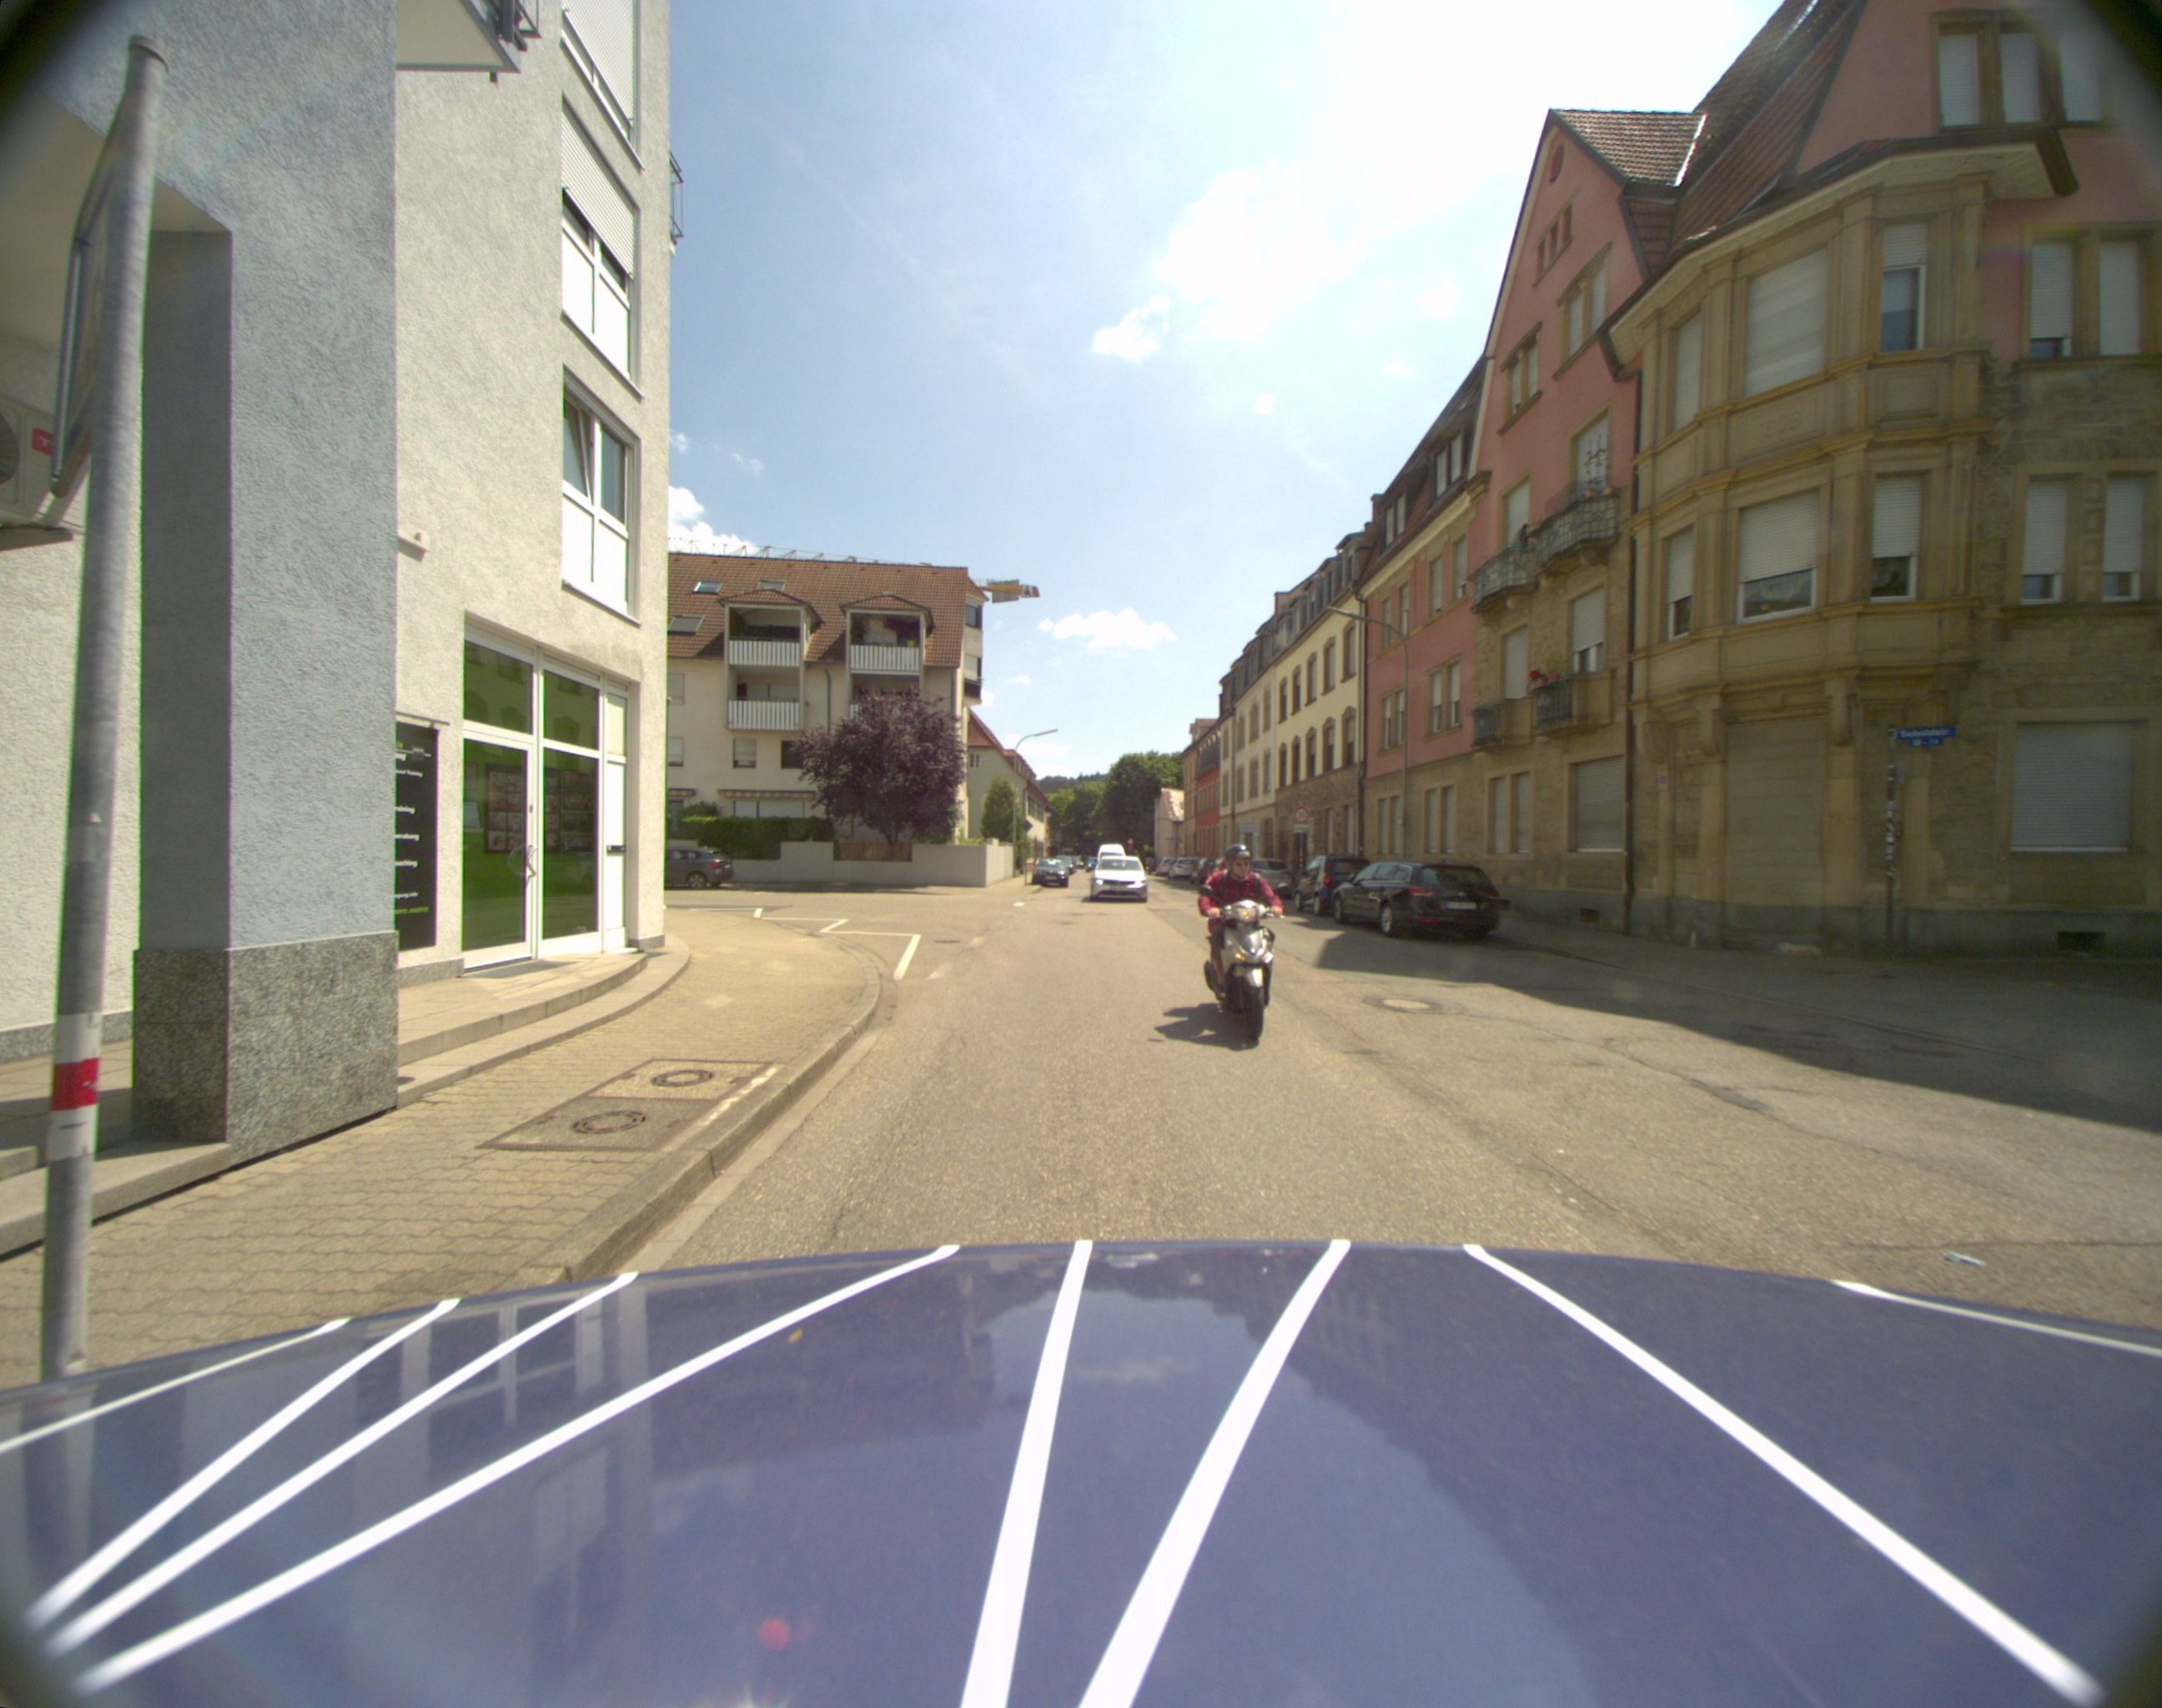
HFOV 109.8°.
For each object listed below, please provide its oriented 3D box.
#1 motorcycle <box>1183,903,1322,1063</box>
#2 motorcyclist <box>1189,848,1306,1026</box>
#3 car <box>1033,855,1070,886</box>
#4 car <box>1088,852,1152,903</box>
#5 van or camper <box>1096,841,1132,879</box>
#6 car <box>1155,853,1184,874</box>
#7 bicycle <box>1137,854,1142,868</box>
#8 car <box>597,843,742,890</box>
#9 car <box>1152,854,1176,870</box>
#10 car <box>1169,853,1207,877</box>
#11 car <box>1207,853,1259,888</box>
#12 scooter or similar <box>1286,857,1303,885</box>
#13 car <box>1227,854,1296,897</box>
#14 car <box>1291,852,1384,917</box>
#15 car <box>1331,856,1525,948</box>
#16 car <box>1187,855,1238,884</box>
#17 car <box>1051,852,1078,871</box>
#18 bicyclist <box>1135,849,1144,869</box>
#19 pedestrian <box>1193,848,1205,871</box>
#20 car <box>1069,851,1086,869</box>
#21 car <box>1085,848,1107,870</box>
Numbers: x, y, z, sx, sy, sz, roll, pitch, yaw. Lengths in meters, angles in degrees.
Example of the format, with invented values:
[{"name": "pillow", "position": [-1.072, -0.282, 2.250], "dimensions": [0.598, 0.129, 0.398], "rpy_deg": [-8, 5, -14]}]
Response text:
[{"name": "motorcycle", "position": [1.410, 1.025, 6.641], "dimensions": [0.760, 1.049, 1.991], "rpy_deg": [-1, 0, 0]}, {"name": "motorcyclist", "position": [1.416, 0.668, 6.639], "dimensions": [0.793, 1.431, 1.020], "rpy_deg": [-1, 1, 0]}, {"name": "car", "position": [-1.391, 0.755, 36.450], "dimensions": [1.661, 1.368, 4.238], "rpy_deg": [1, 0, -2]}, {"name": "car", "position": [1.183, 0.693, 24.698], "dimensions": [1.812, 1.512, 3.999], "rpy_deg": [0, 0, -1]}, {"name": "van or camper", "position": [2.057, 0.358, 49.057], "dimensions": [1.999, 2.274, 5.143], "rpy_deg": [1, 0, -1]}, {"name": "car", "position": [6.828, 0.704, 58.640], "dimensions": [1.715, 1.451, 3.853], "rpy_deg": [2, 0, 0]}, {"name": "bicycle", "position": [5.292, 0.636, 69.224], "dimensions": [0.229, 1.268, 1.882], "rpy_deg": [3, 1, -1]}, {"name": "car", "position": [-14.060, 0.412, 26.118], "dimensions": [3.999, 1.460, 1.736], "rpy_deg": [1, 1, -6]}, {"name": "car", "position": [7.698, 0.688, 70.929], "dimensions": [1.732, 1.433, 3.856], "rpy_deg": [1, 0, -1]}, {"name": "car", "position": [6.938, 0.681, 49.804], "dimensions": [1.883, 1.501, 4.381], "rpy_deg": [1, 0, 0]}, {"name": "car", "position": [6.844, 0.709, 34.536], "dimensions": [1.602, 1.433, 3.494], "rpy_deg": [1, 0, -1]}, {"name": "scooter or similar", "position": [9.534, 0.729, 33.909], "dimensions": [0.375, 1.213, 1.319], "rpy_deg": [1, 0, 0]}, {"name": "car", "position": [6.797, 0.761, 28.963], "dimensions": [1.639, 1.423, 4.018], "rpy_deg": [2, 0, 0]}, {"name": "car", "position": [6.525, 0.733, 19.566], "dimensions": [1.440, 1.514, 2.695], "rpy_deg": [1, 1, 0]}, {"name": "car", "position": [6.606, 0.823, 15.117], "dimensions": [1.787, 1.450, 4.634], "rpy_deg": [1, 1, 1]}, {"name": "car", "position": [6.862, 0.761, 40.132], "dimensions": [1.877, 1.430, 4.217], "rpy_deg": [1, 0, -1]}, {"name": "car", "position": [-1.310, 0.593, 61.586], "dimensions": [1.851, 1.506, 4.001], "rpy_deg": [1, 0, 3]}, {"name": "bicyclist", "position": [5.327, 0.441, 69.094], "dimensions": [0.643, 1.752, 1.167], "rpy_deg": [2, 1, 0]}, {"name": "pedestrian", "position": [9.187, 0.409, 59.153], "dimensions": [0.770, 1.761, 0.763], "rpy_deg": [-1, 1, -1]}, {"name": "car", "position": [-0.439, 0.674, 91.619], "dimensions": [1.999, 2.002, 3.999], "rpy_deg": [-2, 1, -1]}, {"name": "car", "position": [1.444, 0.453, 73.619], "dimensions": [1.998, 2.002, 4.000], "rpy_deg": [-1, 1, 2]}]
